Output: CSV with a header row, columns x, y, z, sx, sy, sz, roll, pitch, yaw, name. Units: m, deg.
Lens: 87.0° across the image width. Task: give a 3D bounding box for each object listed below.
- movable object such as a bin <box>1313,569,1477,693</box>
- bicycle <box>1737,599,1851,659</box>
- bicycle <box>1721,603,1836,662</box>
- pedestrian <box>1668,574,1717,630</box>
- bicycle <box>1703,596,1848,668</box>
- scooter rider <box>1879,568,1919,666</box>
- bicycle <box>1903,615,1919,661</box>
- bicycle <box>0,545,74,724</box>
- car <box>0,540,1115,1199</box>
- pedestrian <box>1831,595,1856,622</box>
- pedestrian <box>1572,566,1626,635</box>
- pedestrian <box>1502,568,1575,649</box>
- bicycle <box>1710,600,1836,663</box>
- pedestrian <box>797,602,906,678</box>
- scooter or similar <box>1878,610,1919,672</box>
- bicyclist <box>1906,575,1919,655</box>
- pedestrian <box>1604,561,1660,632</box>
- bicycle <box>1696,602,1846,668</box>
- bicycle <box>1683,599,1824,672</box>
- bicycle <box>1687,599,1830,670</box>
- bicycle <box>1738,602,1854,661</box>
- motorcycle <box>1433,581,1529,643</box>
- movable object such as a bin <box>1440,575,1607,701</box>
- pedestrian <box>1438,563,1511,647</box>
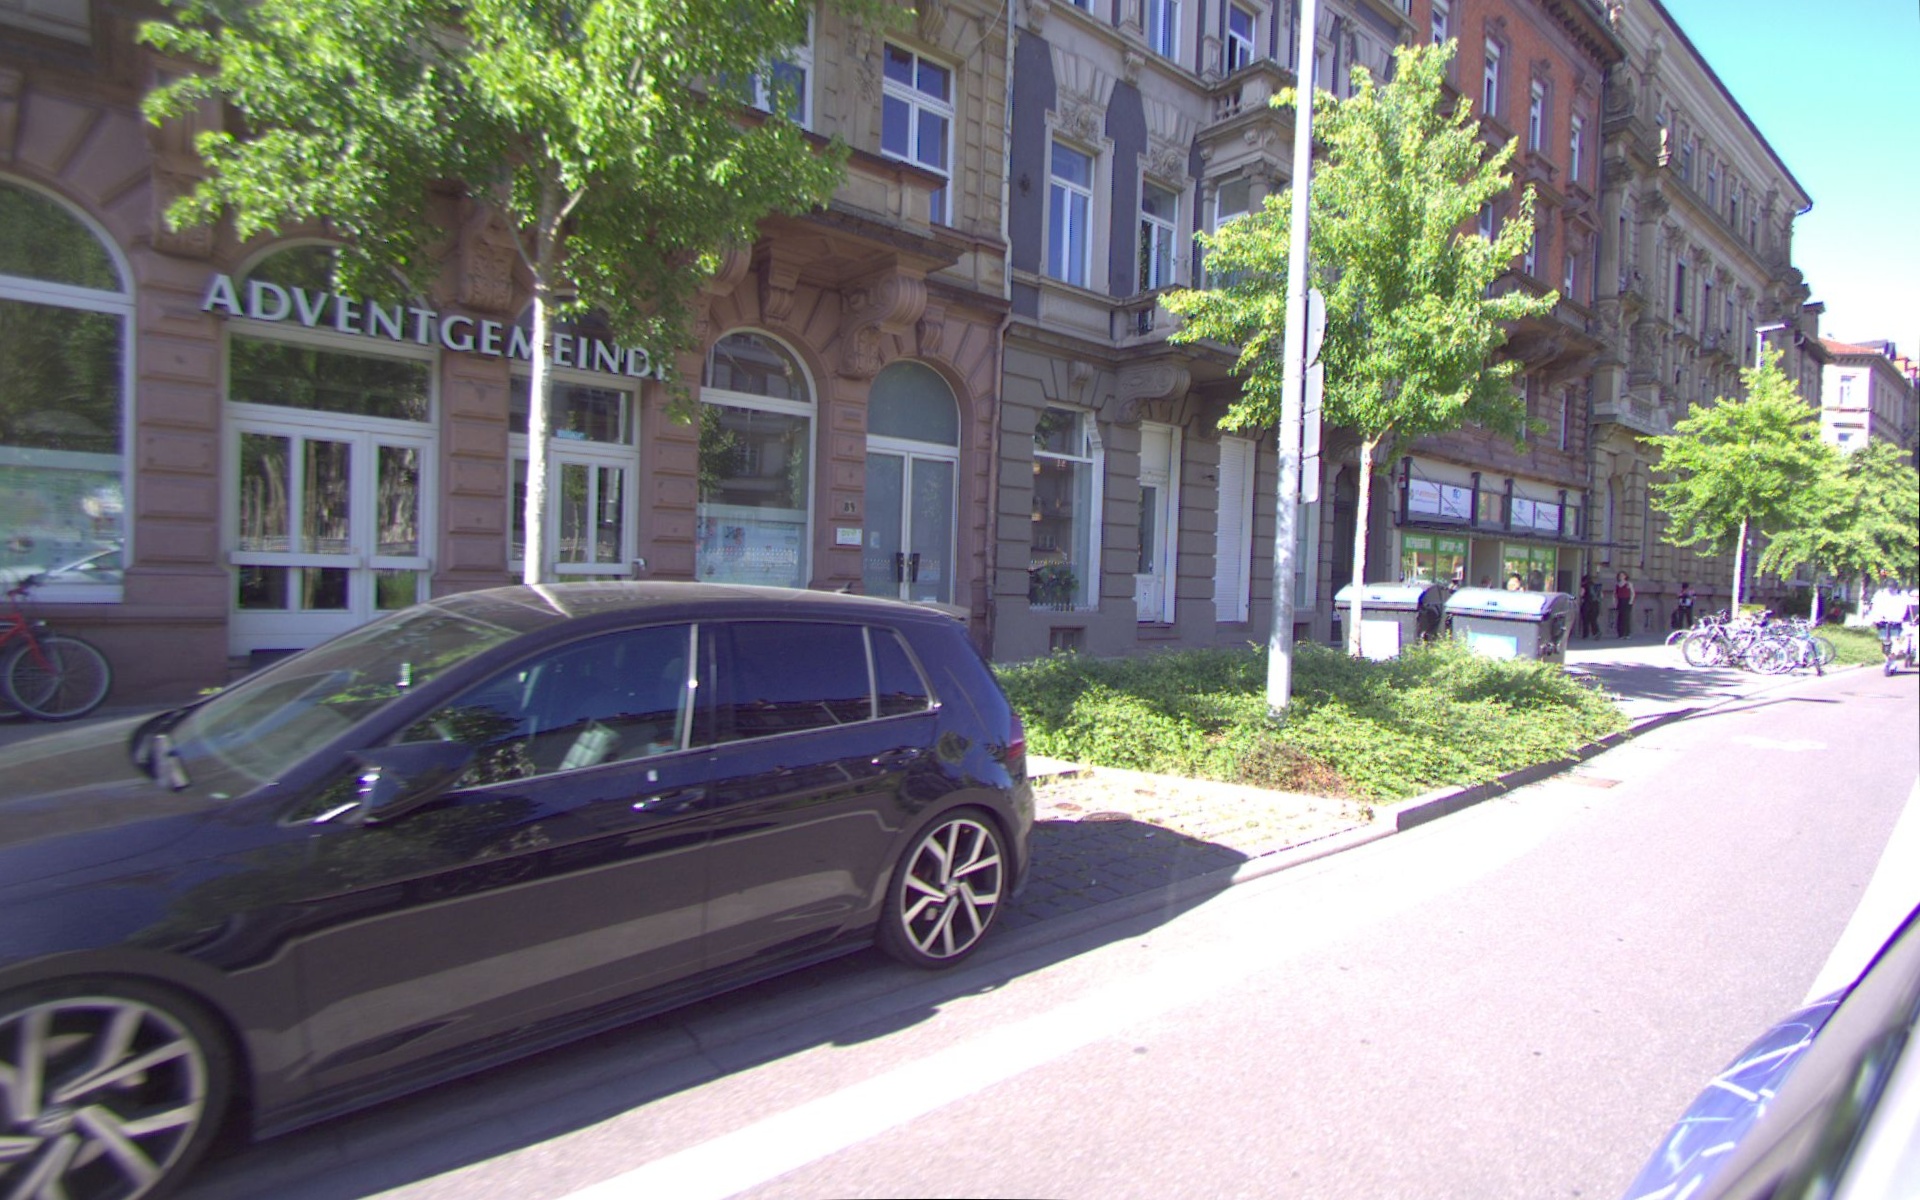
x,y,z,sx,sy,sz,roll,pitch,yaw,name
6.005,0.372,13.970,1.718,1.513,1.377,-1,5,-39,movable object such as a bin
18.218,0.611,22.144,0.367,1.193,1.869,0,3,-42,bicycle
17.346,0.666,21.474,1.816,1.068,0.562,5,4,45,bicycle
23.731,0.058,32.788,1.094,1.712,0.971,0,4,-41,pedestrian
16.131,0.606,20.089,2.142,1.168,0.424,7,4,37,bicycle
18.747,0.330,20.049,0.882,1.890,0.662,1,0,-40,scooter rider
22.576,0.874,23.544,1.918,1.019,0.724,0,0,-41,bicycle
-7.226,0.230,6.892,1.769,1.215,0.749,-1,3,-41,bicycle
-1.548,0.603,3.526,4.374,1.494,1.769,-1,5,-43,car
40.310,0.375,46.170,0.866,1.197,0.719,0,2,-41,pedestrian
17.184,0.000,27.215,0.887,1.756,0.849,0,5,-41,pedestrian
11.955,0.172,20.919,1.061,1.586,0.952,2,2,-41,pedestrian
17.064,0.635,21.286,0.428,1.121,1.980,0,4,-42,bicycle
-1.285,0.453,12.056,0.867,0.828,0.968,1,1,36,pedestrian
18.718,0.798,20.033,1.130,1.173,0.646,0,1,-40,scooter or similar
22.582,0.355,23.543,1.072,1.840,0.724,1,0,-42,bicyclist
18.988,-0.111,28.600,1.077,1.943,0.893,0,3,-35,pedestrian
16.294,0.678,20.420,2.279,1.115,0.480,5,4,36,bicycle
14.994,0.640,19.163,0.474,1.137,1.977,1,5,-45,bicycle
15.293,0.633,19.430,2.045,1.120,0.601,7,5,44,bicycle
18.466,0.666,22.390,0.509,1.122,1.893,0,4,-45,bicycle
11.873,0.242,23.026,2.930,1.281,0.868,-1,4,-41,motorcycle
7.154,0.468,12.851,1.612,1.482,1.275,3,-1,-36,movable object such as a bin
10.680,0.102,21.001,0.975,1.659,0.973,2,2,-40,pedestrian
